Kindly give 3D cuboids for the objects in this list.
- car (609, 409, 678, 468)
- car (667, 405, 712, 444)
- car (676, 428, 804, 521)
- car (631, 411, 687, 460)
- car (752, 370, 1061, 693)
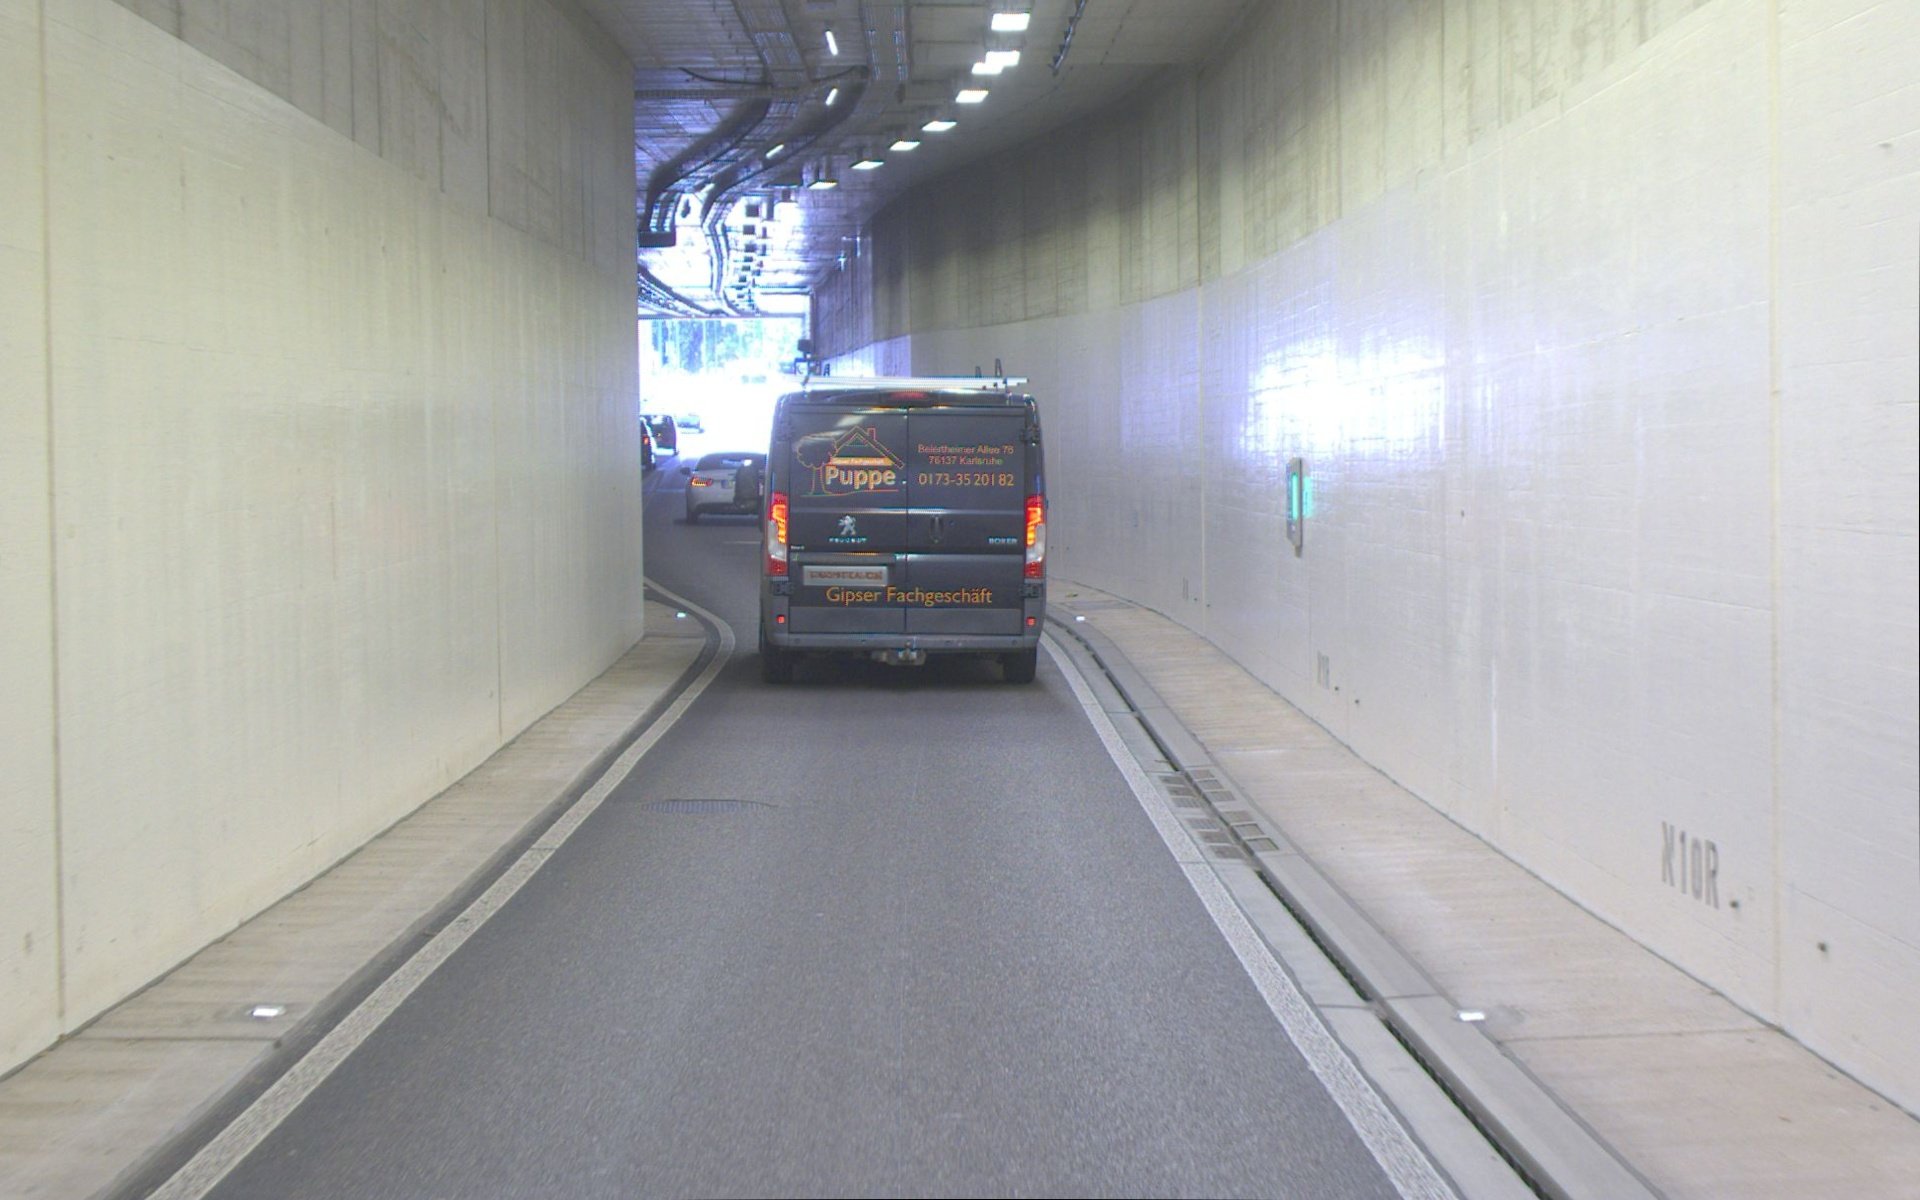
[{"bbox_3d":[-9.017,-4.600,98.141,1.876,1.619,4.222,1,2,-5],"label":"car"},{"bbox_3d":[-11.598,-7.507,147.469,1.876,1.619,4.222,1,2,-5],"label":"car"},{"bbox_3d":[-3.791,-2.214,59.865,2.085,1.508,4.638,-1,3,-2],"label":"car"},{"bbox_3d":[-10.468,-5.711,119.604,1.876,1.619,4.222,1,2,-5],"label":"car"},{"bbox_3d":[-0.411,-0.613,26.582,2.158,2.258,4.638,0,3,-1],"label":"car"}]
